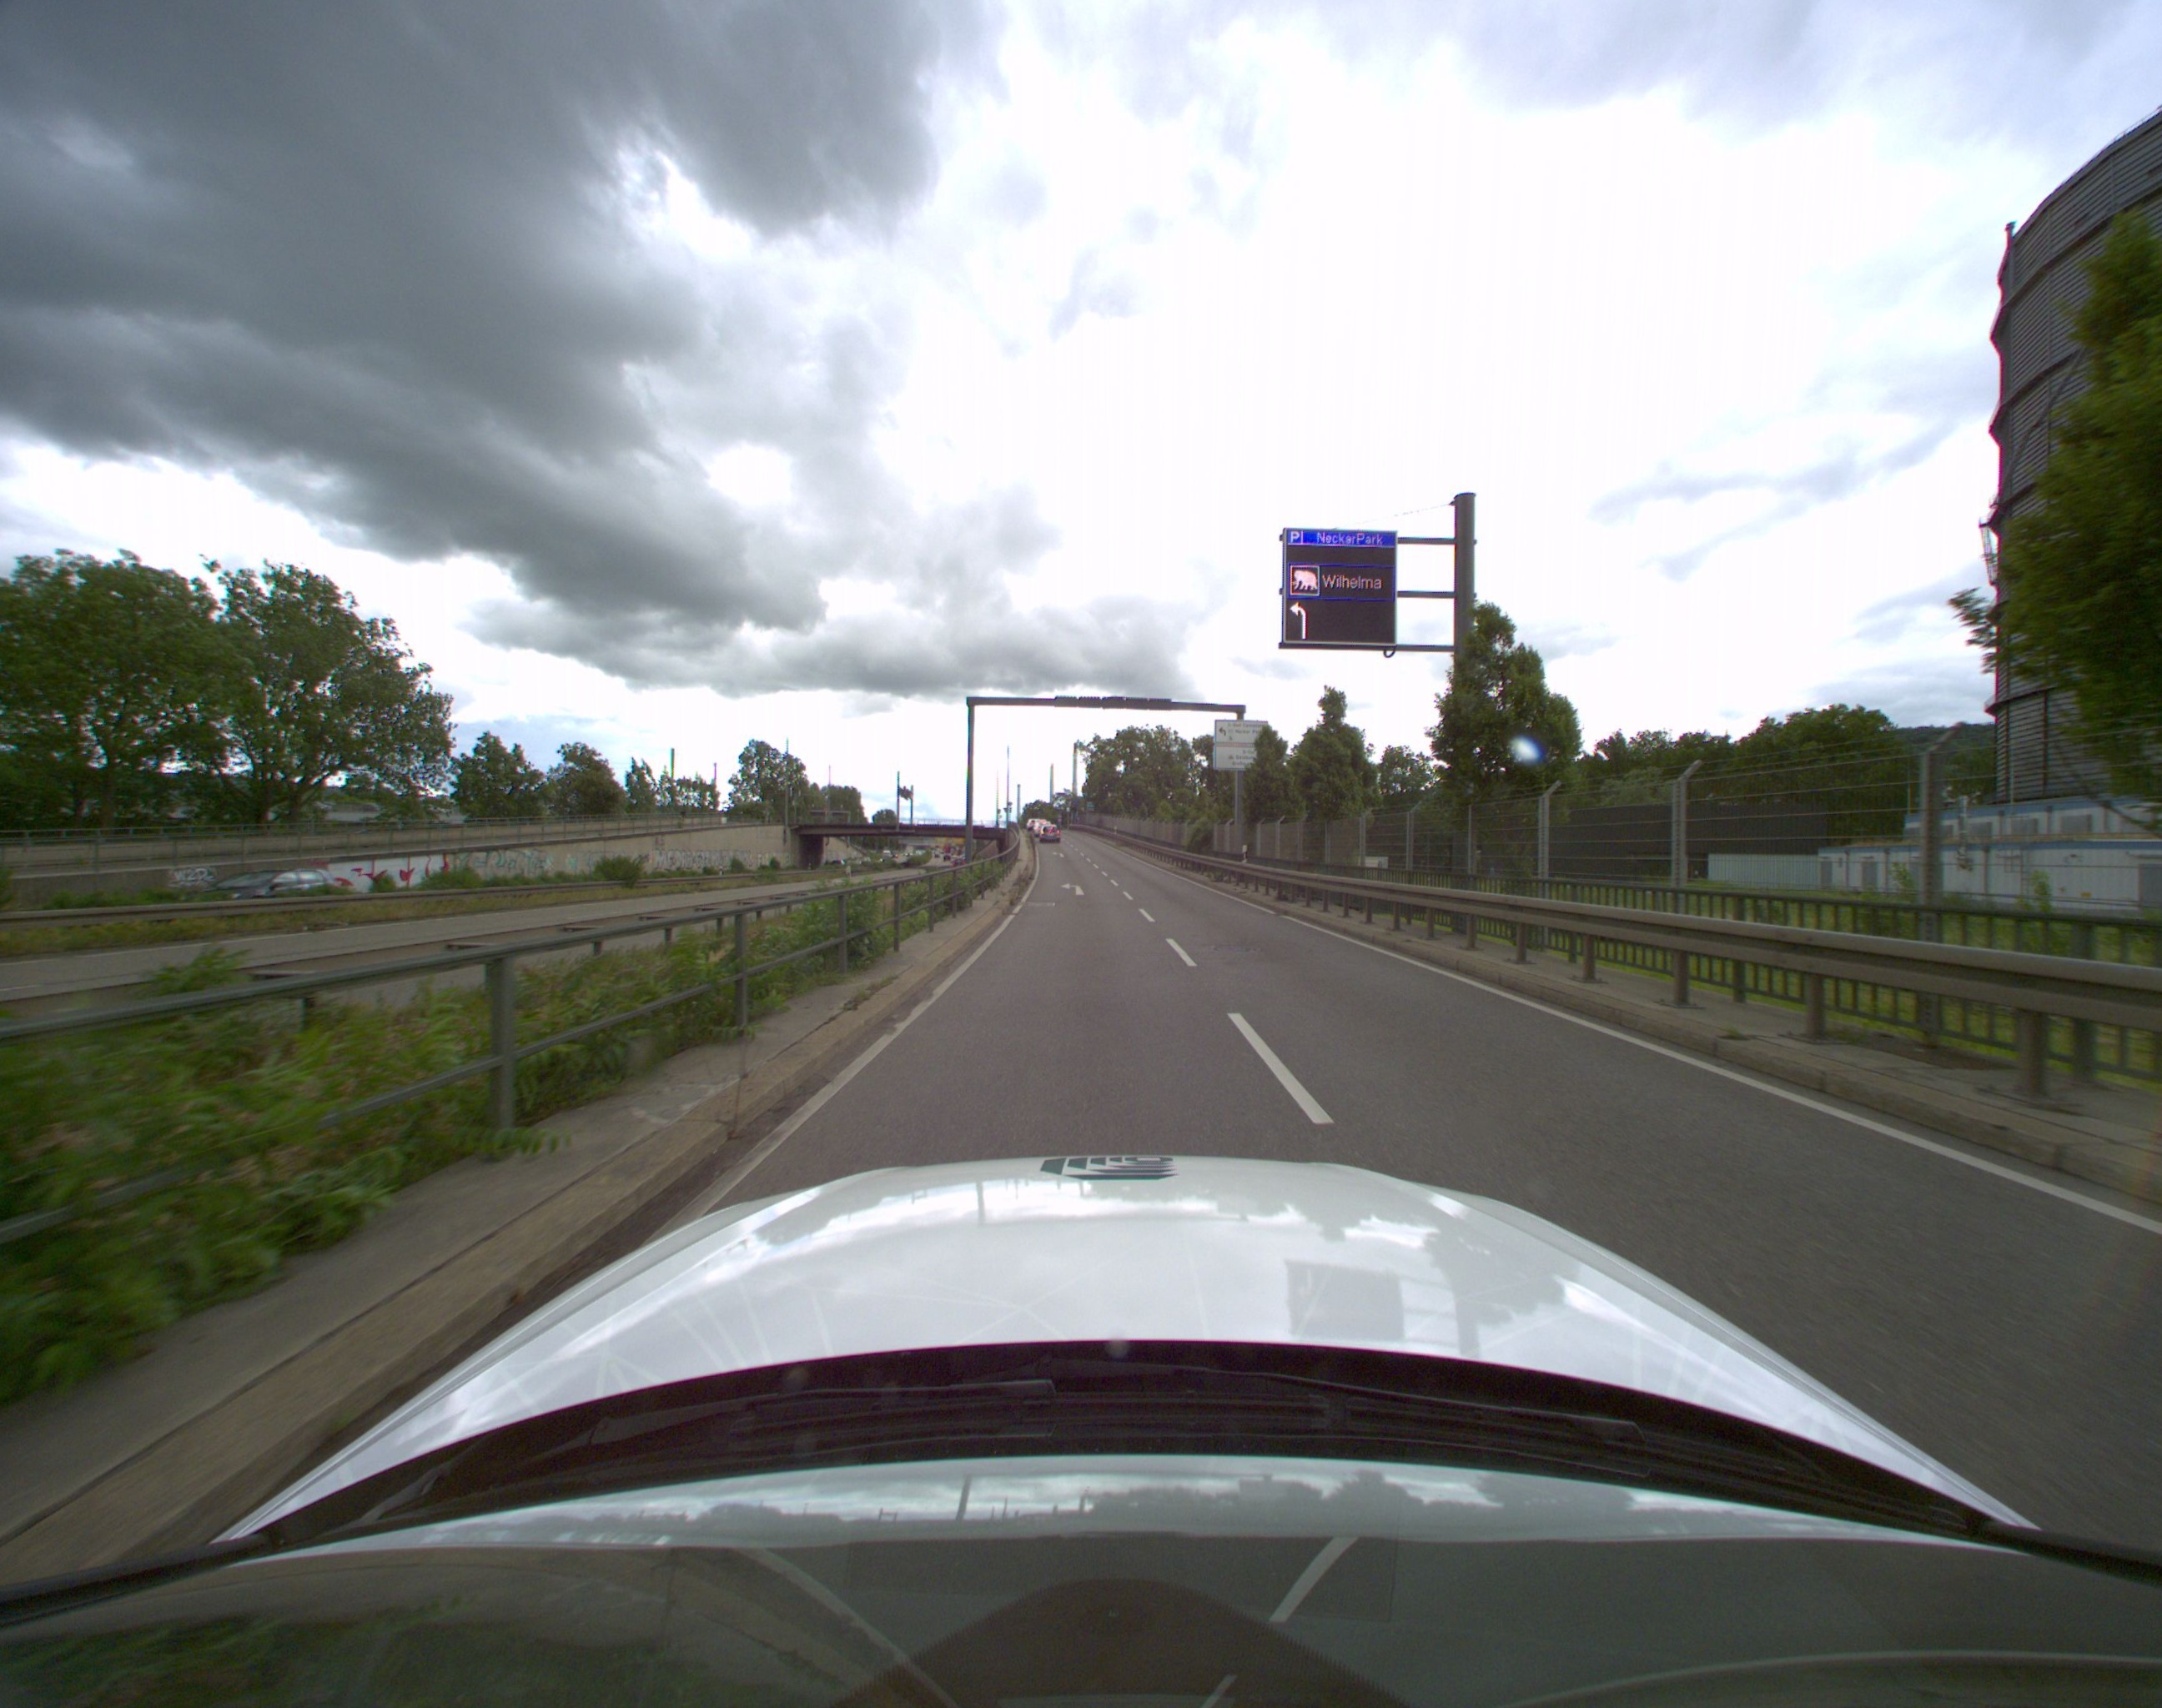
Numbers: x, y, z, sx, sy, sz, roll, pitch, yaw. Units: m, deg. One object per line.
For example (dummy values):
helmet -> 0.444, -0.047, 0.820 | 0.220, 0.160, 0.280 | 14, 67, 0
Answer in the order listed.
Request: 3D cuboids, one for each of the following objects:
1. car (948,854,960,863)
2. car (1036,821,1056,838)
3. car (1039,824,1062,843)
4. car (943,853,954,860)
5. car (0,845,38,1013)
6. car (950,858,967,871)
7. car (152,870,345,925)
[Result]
car -> -27.145, 0.928, 174.129 | 1.988, 1.683, 3.998 | 1, 1, -2
car -> -3.652, -2.537, 84.265 | 1.990, 1.602, 3.995 | -1, 4, -5
car -> -2.719, -1.838, 72.857 | 1.743, 1.580, 4.087 | 1, 0, 2
car -> -32.196, 0.577, 197.508 | 1.988, 1.683, 3.998 | 1, 1, -2
car -> -11.909, 0.788, 6.676 | 1.677, 1.736, 3.993 | -1, 0, -4
car -> -15.026, 1.284, 99.842 | 1.992, 1.420, 3.989 | 1, 1, -8
car -> -26.044, 1.308, 25.715 | 1.988, 1.435, 3.998 | -1, 1, -2
